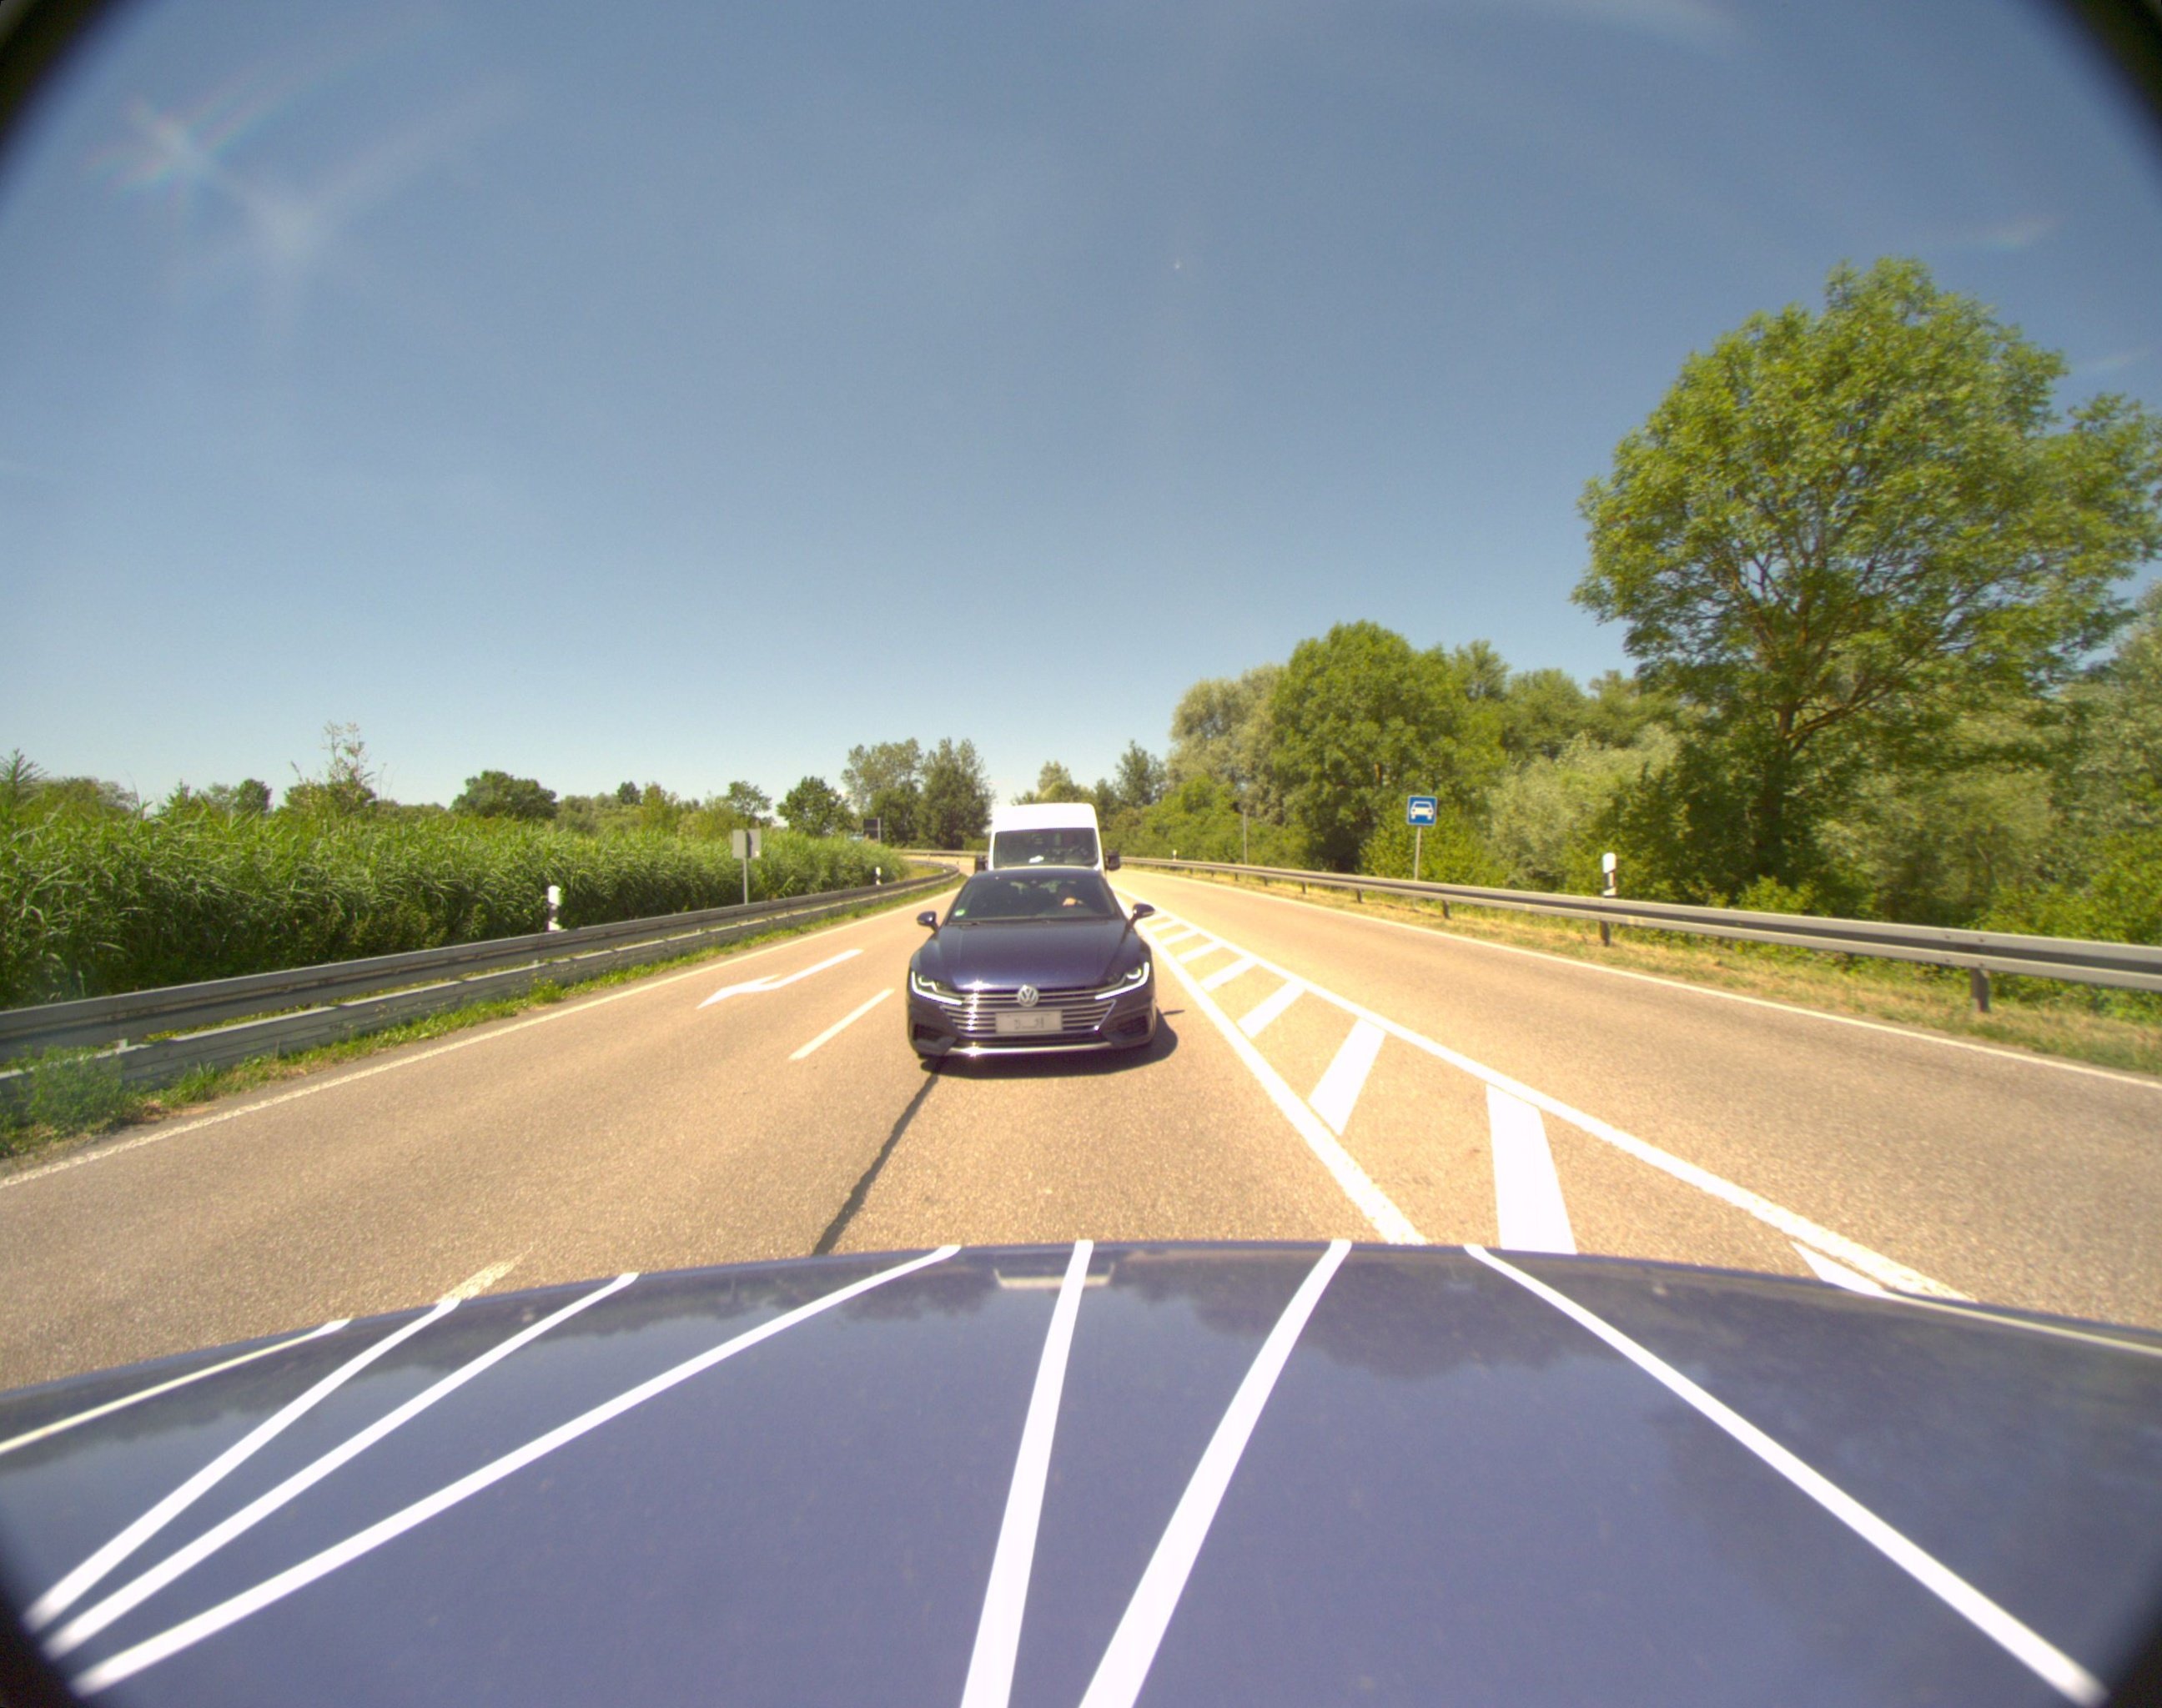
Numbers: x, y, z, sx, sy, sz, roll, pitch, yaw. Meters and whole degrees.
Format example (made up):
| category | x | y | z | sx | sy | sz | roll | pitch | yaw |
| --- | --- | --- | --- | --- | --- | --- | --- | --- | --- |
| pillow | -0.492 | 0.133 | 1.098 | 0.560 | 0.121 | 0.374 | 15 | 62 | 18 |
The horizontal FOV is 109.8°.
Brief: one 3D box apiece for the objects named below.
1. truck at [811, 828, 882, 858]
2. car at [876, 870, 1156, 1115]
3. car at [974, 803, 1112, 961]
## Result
| category | x | y | z | sx | sy | sz | roll | pitch | yaw |
| --- | --- | --- | --- | --- | --- | --- | --- | --- | --- |
| truck | -26.308 | -1.162 | 84.978 | 9.054 | 3.052 | 2.583 | -1 | 1 | 37 |
| car | -0.408 | 0.943 | 6.918 | 1.761 | 1.401 | 3.999 | -2 | 1 | 0 |
| car | -0.573 | 0.407 | 14.664 | 2.059 | 2.376 | 5.826 | -2 | 1 | 0 |
